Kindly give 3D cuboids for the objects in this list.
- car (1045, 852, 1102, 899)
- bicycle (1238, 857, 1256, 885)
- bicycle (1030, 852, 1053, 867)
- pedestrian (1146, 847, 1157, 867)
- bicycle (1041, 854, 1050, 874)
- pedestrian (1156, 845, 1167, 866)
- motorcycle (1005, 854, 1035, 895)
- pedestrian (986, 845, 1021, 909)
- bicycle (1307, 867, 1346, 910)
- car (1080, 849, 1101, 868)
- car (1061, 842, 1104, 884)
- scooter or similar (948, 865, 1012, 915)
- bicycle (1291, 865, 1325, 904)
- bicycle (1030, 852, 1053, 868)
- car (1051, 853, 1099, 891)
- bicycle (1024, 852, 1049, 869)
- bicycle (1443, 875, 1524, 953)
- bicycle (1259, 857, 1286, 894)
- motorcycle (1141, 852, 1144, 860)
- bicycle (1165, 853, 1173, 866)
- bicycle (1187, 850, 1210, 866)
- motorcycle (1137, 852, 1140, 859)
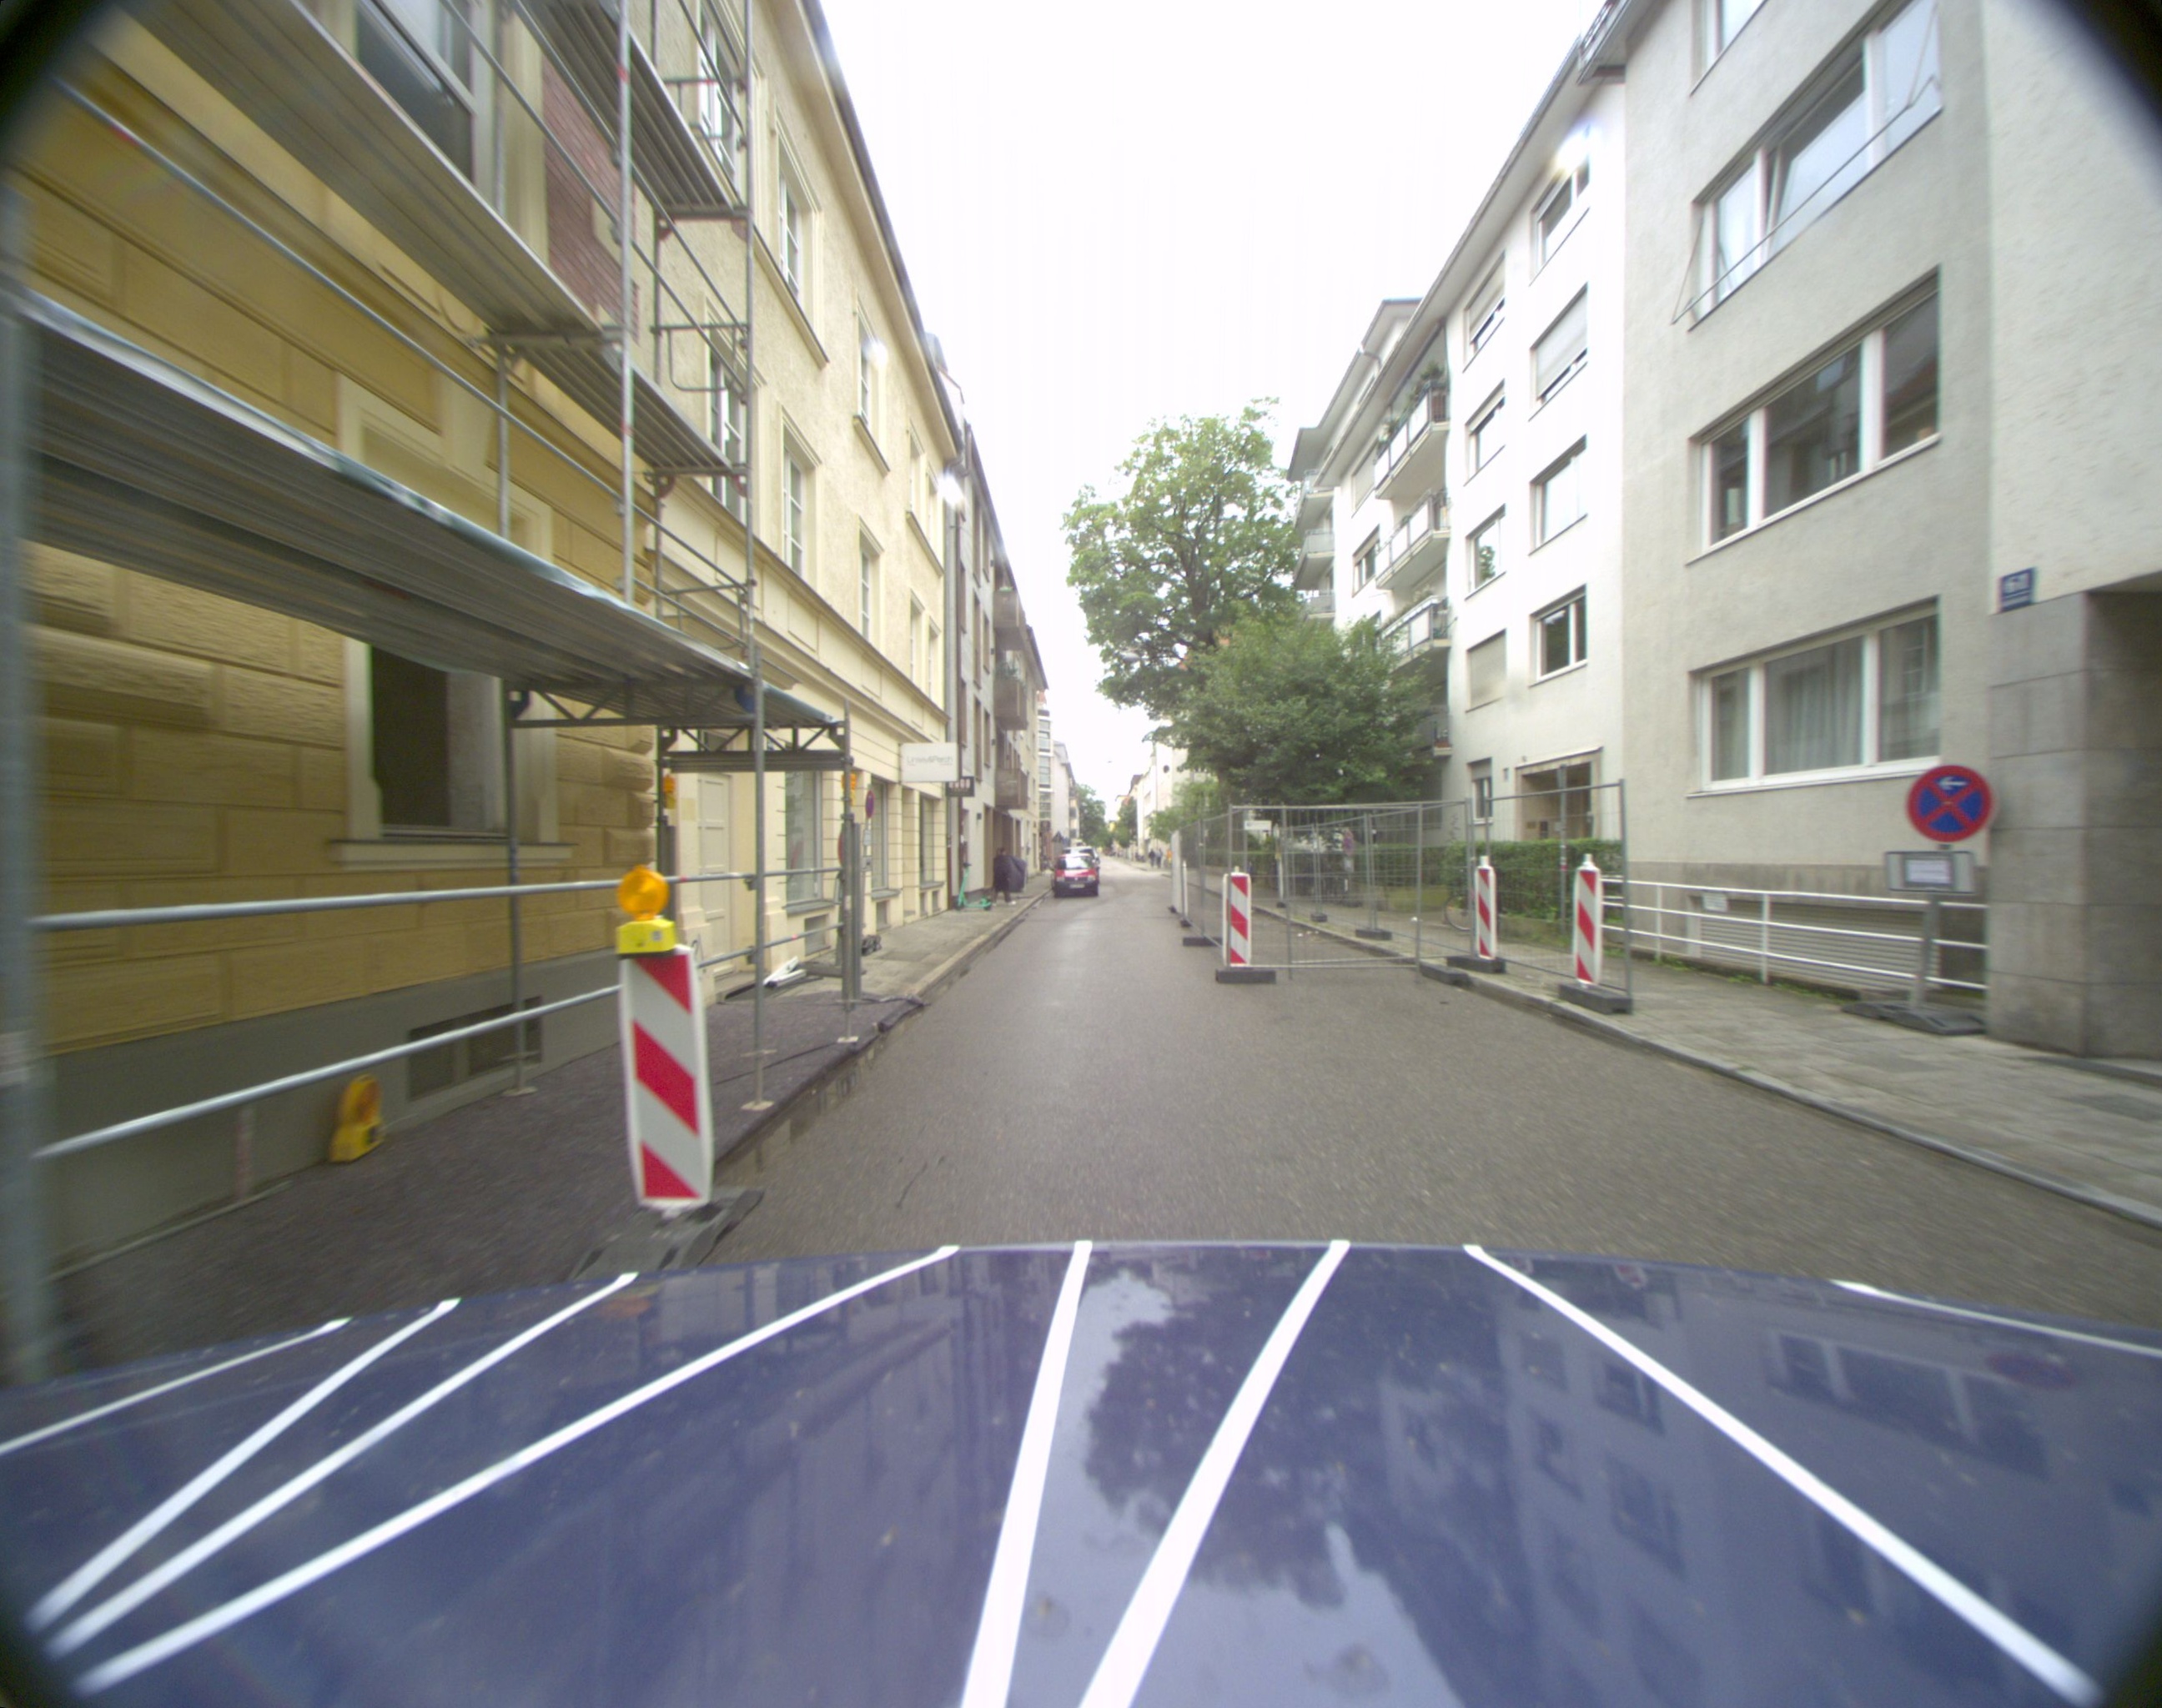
[{"bbox_3d":[-0.208,0.741,28.135,1.776,1.515,4.067,-2,0,3],"label":"car"},{"bbox_3d":[6.796,0.672,31.204,0.347,1.065,1.780,-4,0,2],"label":"bicycle"},{"bbox_3d":[-3.262,0.425,62.469,1.872,1.222,0.594,1,2,31],"label":"bicycle"},{"bbox_3d":[5.994,0.252,64.539,0.721,1.718,0.841,-5,1,2],"label":"pedestrian"},{"bbox_3d":[-2.240,0.640,48.253,0.411,1.207,1.818,2,2,2],"label":"bicycle"},{"bbox_3d":[6.847,0.152,64.492,0.695,1.718,0.841,-5,1,2],"label":"pedestrian"},{"bbox_3d":[-2.267,0.728,28.452,0.807,1.415,1.932,5,1,2],"label":"motorcycle"},{"bbox_3d":[-2.156,0.631,21.055,0.659,1.677,0.547,6,1,15],"label":"pedestrian"},{"bbox_3d":[6.394,0.867,19.863,0.444,0.973,1.816,-4,1,3],"label":"bicycle"},{"bbox_3d":[0.806,0.376,66.109,1.725,1.606,4.454,-2,0,0],"label":"car"},{"bbox_3d":[0.038,0.414,39.262,1.995,1.965,4.884,-2,0,-1],"label":"car"},{"bbox_3d":[-2.507,0.882,18.955,0.493,1.177,1.611,3,1,42],"label":"scooter or similar"},{"bbox_3d":[6.468,0.842,21.727,0.444,0.973,1.853,-4,1,3],"label":"bicycle"},{"bbox_3d":[-3.163,0.465,60.357,1.752,1.180,0.443,2,1,7],"label":"bicycle"},{"bbox_3d":[-0.205,0.740,33.378,1.772,1.453,4.380,-2,0,3],"label":"car"},{"bbox_3d":[-3.500,0.492,59.652,1.807,1.315,0.586,-1,2,-24],"label":"bicycle"},{"bbox_3d":[6.274,0.899,11.922,0.378,1.057,1.597,-7,0,2],"label":"bicycle"},{"bbox_3d":[6.470,0.697,25.753,0.489,1.145,1.698,-4,1,3],"label":"bicycle"},{"bbox_3d":[8.331,0.262,102.891,0.324,0.968,1.961,-2,0,2],"label":"motorcycle"},{"bbox_3d":[7.548,0.436,65.206,0.432,1.089,1.703,-2,0,0],"label":"bicycle"},{"bbox_3d":[9.465,0.330,61.242,1.811,1.253,0.432,-1,1,0],"label":"bicycle"},{"bbox_3d":[8.578,0.264,112.485,0.324,0.968,1.961,-2,0,2],"label":"motorcycle"}]
